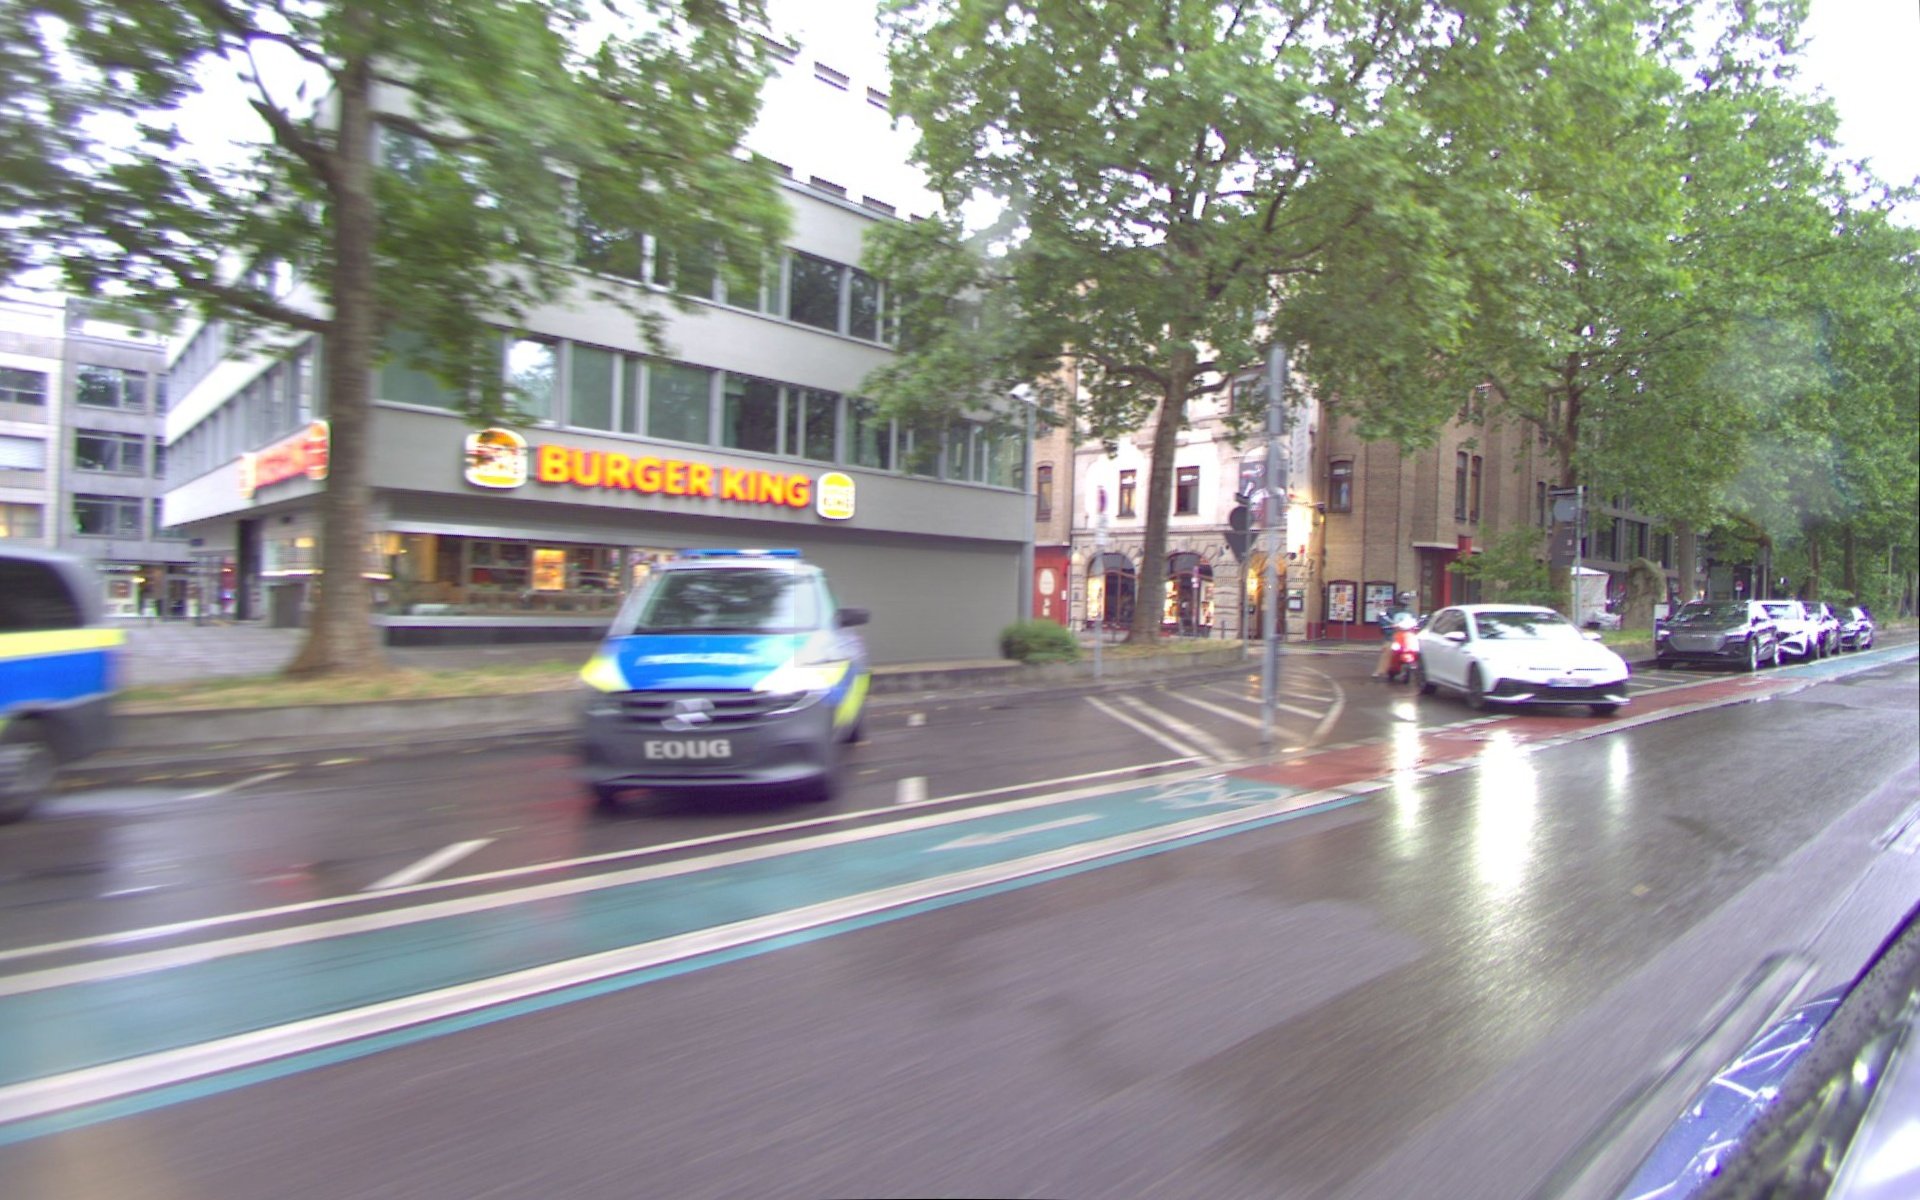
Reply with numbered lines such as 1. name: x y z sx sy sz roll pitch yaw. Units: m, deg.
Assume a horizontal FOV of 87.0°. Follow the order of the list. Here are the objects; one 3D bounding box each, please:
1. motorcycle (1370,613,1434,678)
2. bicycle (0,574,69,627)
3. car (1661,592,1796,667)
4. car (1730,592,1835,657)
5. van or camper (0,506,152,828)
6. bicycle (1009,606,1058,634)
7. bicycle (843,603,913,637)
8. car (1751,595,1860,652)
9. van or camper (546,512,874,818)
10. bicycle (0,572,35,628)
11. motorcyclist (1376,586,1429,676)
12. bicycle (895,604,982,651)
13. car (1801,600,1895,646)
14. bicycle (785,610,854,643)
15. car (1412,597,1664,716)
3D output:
1. motorcycle: 8.512 0.837 19.447 0.862 1.157 1.999 0 0 32
2. bicycle: -21.737 0.003 22.962 2.249 1.188 0.687 0 0 -44
3. car: 18.317 0.645 24.050 4.348 1.623 1.795 0 0 -42
4. car: 22.101 0.614 27.130 1.752 1.605 4.339 0 0 45
5. van or camper: -6.986 0.419 5.139 1.957 2.045 5.092 0 0 -4
6. bicycle: 2.614 0.717 36.305 0.613 0.949 1.972 1 0 -36
7. bicycle: -2.247 0.546 28.059 2.042 0.907 0.583 1 1 -45
8. car: 25.573 0.652 30.561 4.483 1.609 1.996 0 0 -43
9. van or camper: -1.859 0.424 9.177 1.963 2.017 4.949 0 0 -3
10. bicycle: -21.129 -0.003 21.424 2.247 1.187 0.687 0 0 -41
11. motorcyclist: 8.509 0.573 19.452 0.842 1.665 0.862 0 0 32
12. bicycle: -0.478 0.606 22.879 1.879 0.933 0.644 1 9 -39
13. car: 29.883 0.731 34.025 4.505 1.451 1.746 0 0 -40
14. bicycle: -3.731 0.694 27.037 0.640 0.829 1.885 1 0 41
15. car: 8.222 0.692 14.926 1.838 1.463 4.495 0 0 11
